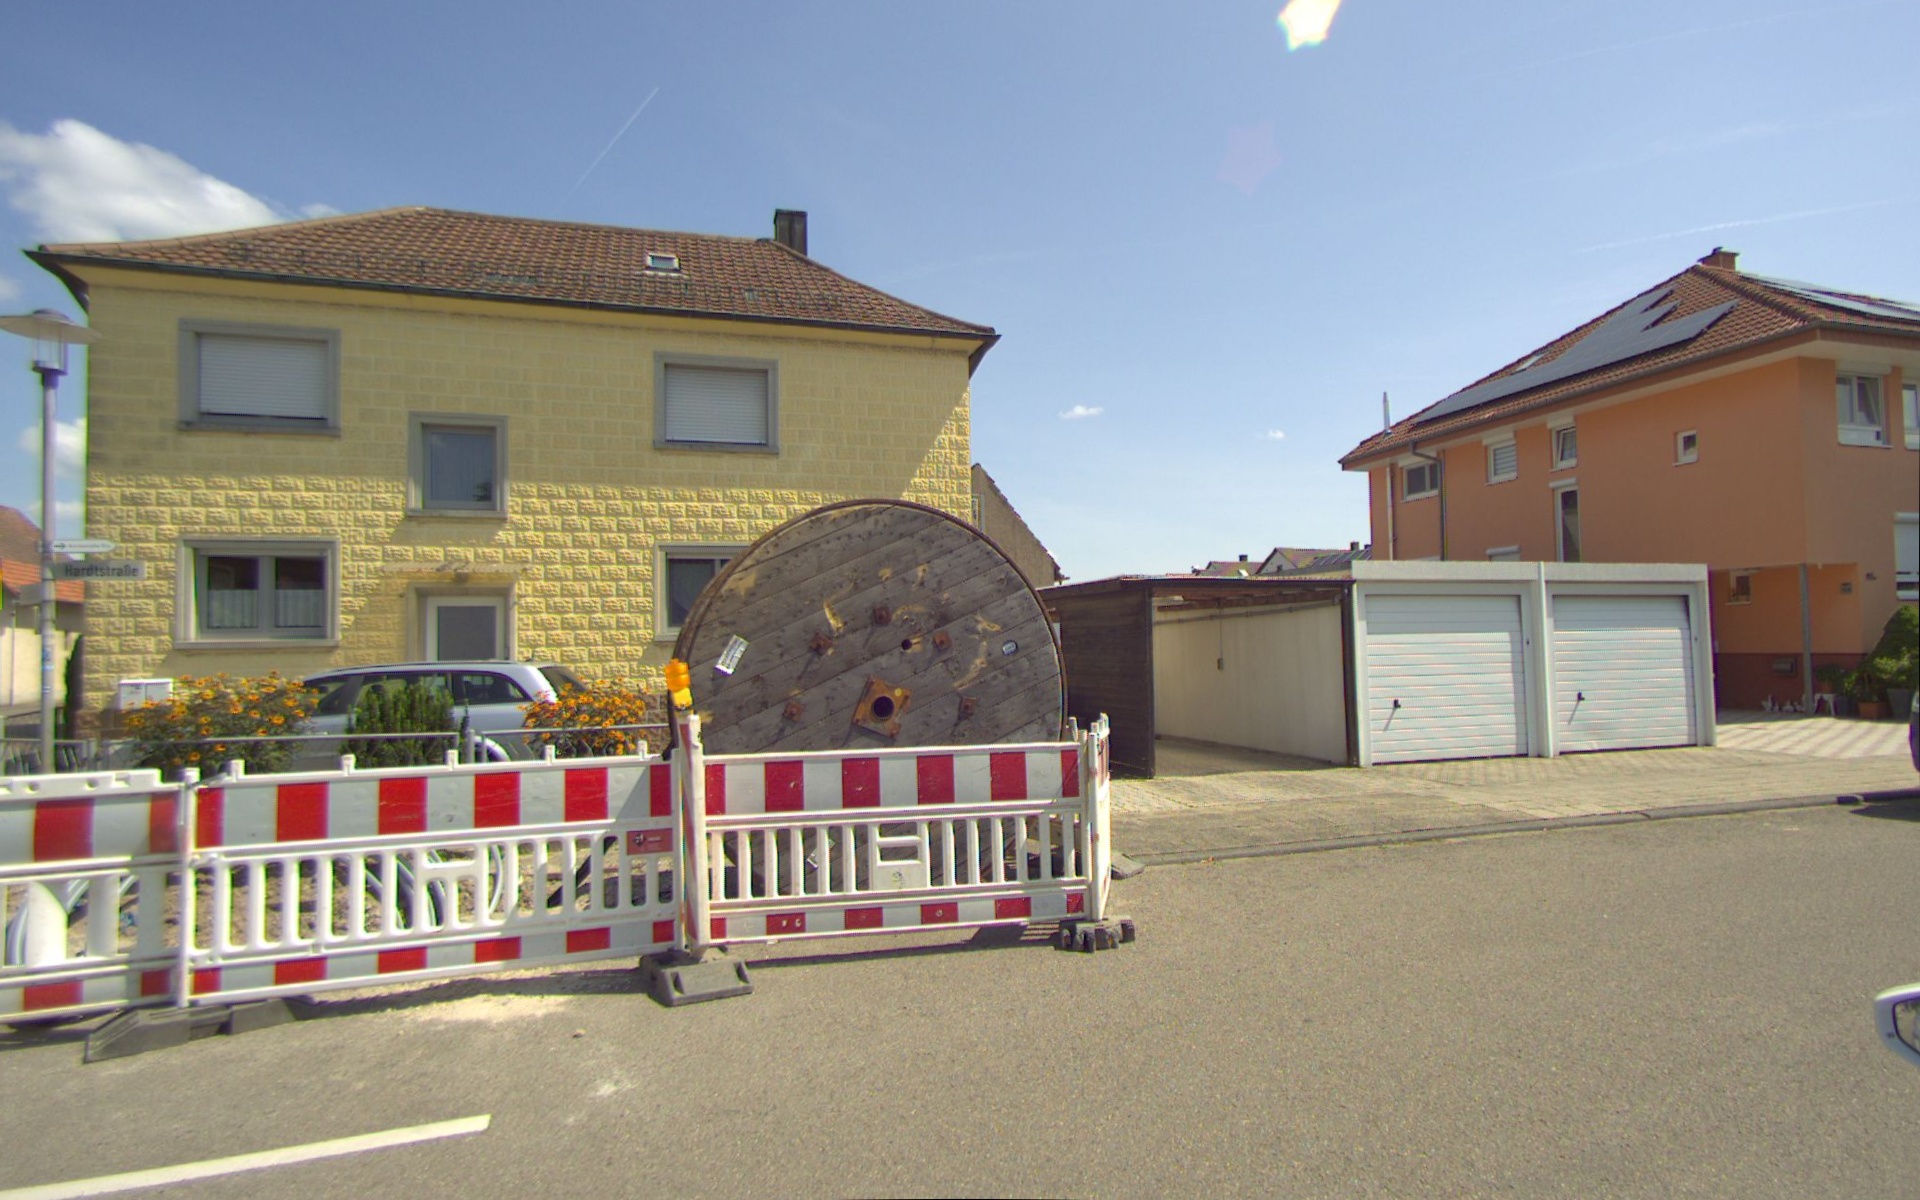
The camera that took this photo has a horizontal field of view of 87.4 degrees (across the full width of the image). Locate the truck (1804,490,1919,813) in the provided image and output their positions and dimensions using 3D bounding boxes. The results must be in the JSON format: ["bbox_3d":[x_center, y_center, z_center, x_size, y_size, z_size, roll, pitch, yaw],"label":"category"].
[{"bbox_3d":[11.984,0.390,9.461,7.178,2.822,2.435,0,-6,-16],"label":"truck"}]

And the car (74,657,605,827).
[{"bbox_3d":[-6.233,1.402,10.578,4.388,1.504,1.791,-1,-3,-5],"label":"car"}]
